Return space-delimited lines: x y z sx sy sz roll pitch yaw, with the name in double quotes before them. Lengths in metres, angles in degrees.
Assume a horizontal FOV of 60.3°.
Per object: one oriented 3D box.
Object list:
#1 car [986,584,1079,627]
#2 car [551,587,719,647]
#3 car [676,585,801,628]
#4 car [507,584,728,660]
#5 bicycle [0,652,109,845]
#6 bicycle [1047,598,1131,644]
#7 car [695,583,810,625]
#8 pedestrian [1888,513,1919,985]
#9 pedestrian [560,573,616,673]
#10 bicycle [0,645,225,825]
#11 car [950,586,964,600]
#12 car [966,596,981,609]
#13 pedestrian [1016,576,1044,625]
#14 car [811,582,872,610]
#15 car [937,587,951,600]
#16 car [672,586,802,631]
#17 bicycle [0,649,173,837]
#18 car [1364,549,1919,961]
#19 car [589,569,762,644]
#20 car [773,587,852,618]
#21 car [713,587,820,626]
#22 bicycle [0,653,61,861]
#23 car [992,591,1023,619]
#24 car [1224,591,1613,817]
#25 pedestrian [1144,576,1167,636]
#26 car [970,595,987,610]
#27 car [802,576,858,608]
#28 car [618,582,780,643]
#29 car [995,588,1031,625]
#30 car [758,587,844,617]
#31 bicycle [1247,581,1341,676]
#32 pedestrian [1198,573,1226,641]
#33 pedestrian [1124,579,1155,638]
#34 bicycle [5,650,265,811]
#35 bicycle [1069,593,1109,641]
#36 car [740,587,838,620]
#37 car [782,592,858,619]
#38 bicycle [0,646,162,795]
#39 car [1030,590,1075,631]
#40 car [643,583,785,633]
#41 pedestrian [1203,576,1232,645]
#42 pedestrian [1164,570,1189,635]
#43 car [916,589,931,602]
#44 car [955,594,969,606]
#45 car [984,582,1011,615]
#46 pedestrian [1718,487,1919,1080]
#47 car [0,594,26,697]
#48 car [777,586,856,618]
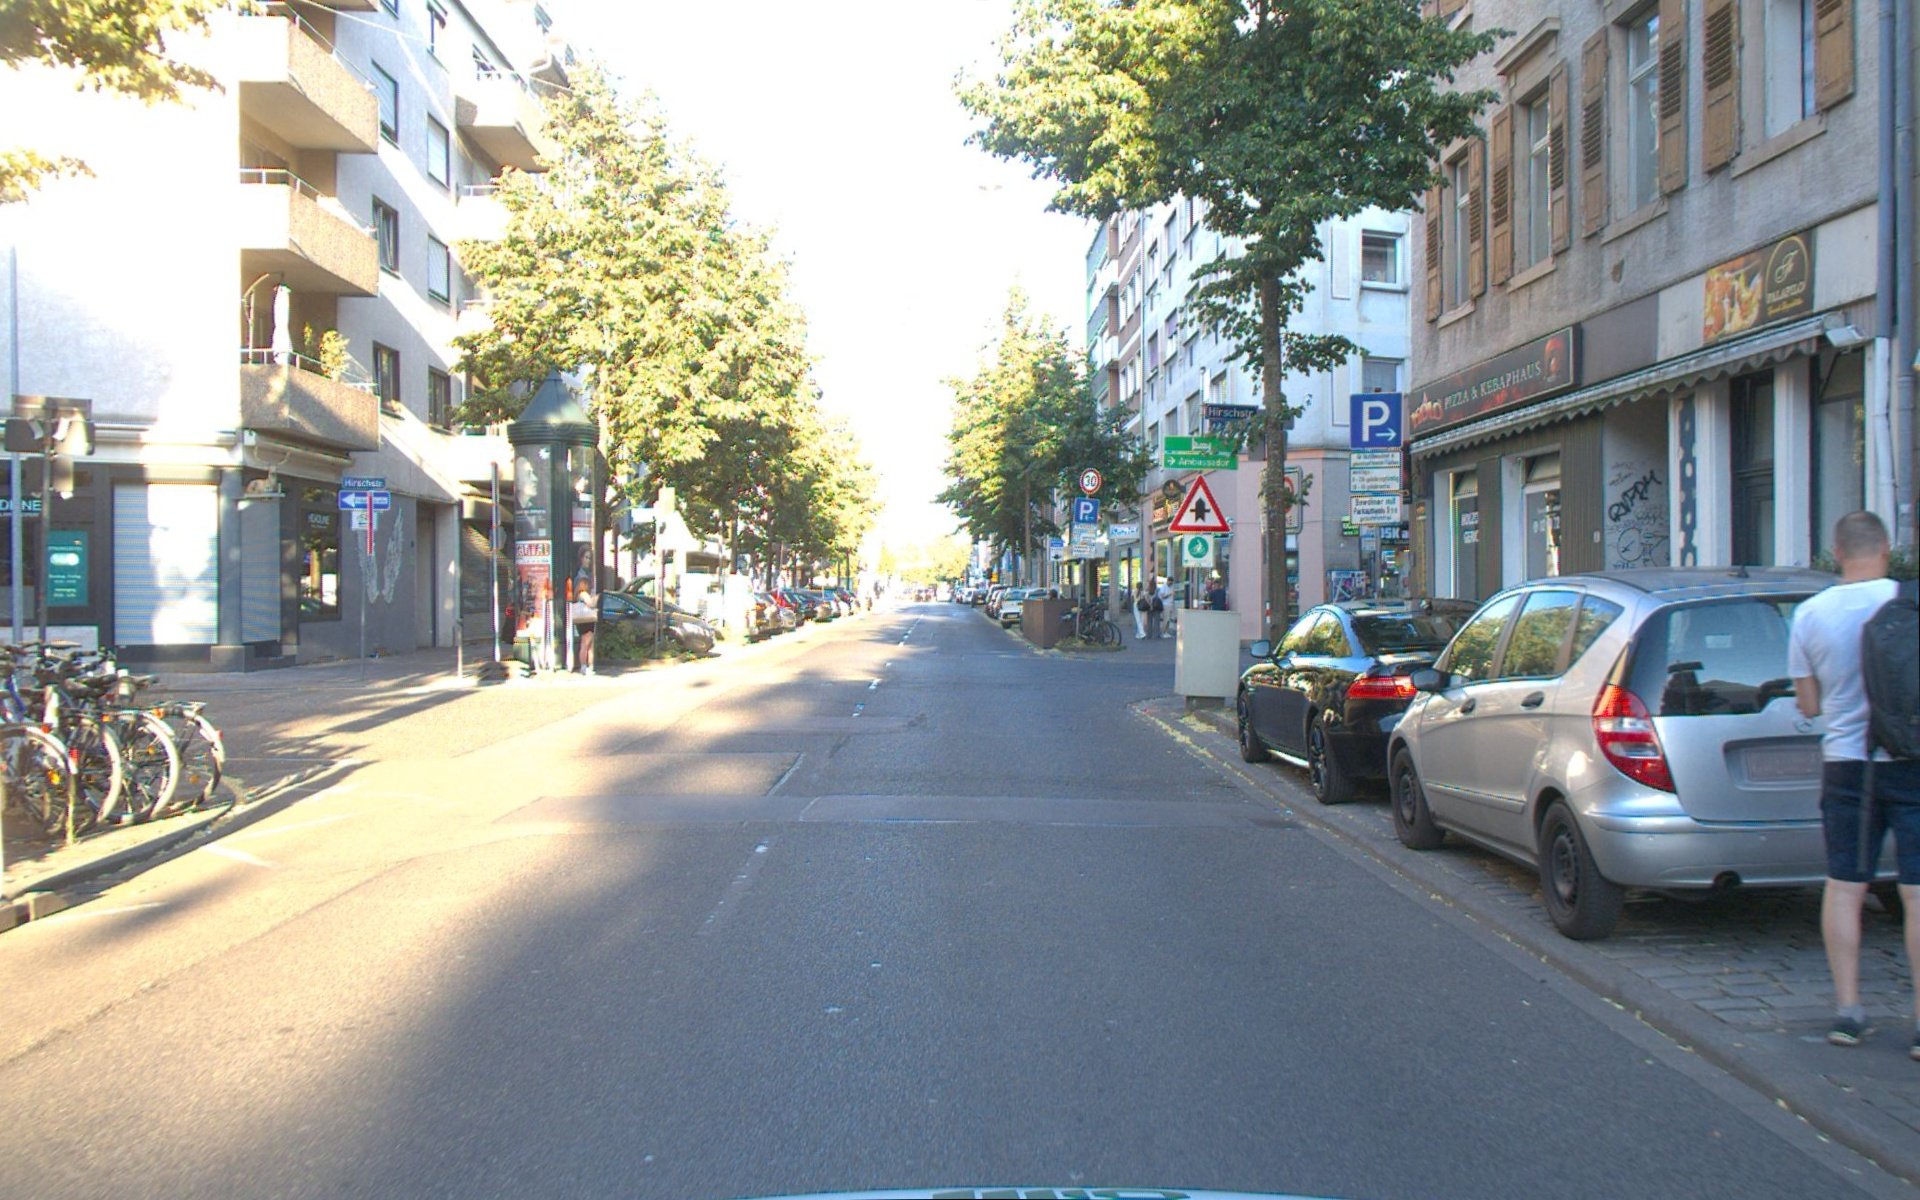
"car" 2.862 0.218 64.917 1.645 1.616 3.801 1 0 42
"car" -8.090 0.428 41.391 3.712 1.416 2.044 1 -1 2
"car" -8.129 0.234 61.022 4.351 1.484 1.859 1 0 0
"car" -7.398 0.458 36.050 4.454 1.568 1.810 1 0 -2
"bicycle" -6.100 0.859 9.961 1.649 1.097 0.444 3 -1 -2
"bicycle" 3.144 0.499 40.367 1.918 1.092 0.704 0 0 31
"car" -8.251 0.163 66.007 4.351 1.595 1.919 1 0 0
"pedestrian" 3.902 0.534 5.831 0.666 1.735 0.822 -3 0 -15
"pedestrian" -6.454 0.385 28.738 0.695 1.716 0.834 0 0 8
"bicycle" -5.873 0.892 11.134 1.647 1.097 0.445 2 -1 7
"car" -0.345 -0.813 196.927 1.716 1.567 3.304 0 0 0
"car" 1.306 0.216 162.877 1.482 1.285 3.304 0 0 0
"pedestrian" 2.882 0.016 67.947 0.900 1.959 1.015 1 0 -11
"car" -8.697 -0.284 122.023 4.351 1.994 1.919 0 0 0
"car" -1.957 -0.774 204.031 1.685 1.501 3.304 0 0 0
"car" -7.889 0.288 58.720 4.351 1.510 1.809 1 0 0
"bicycle" -5.953 0.883 10.554 1.647 1.097 0.445 2 -1 7
"car" 3.486 0.599 8.705 1.652 1.602 4.013 -3 1 -1
"car" -7.923 0.175 46.336 4.479 1.996 1.990 1 0 -1
"car" -8.244 0.131 92.490 4.216 1.626 1.919 1 0 0
"car" -8.245 0.288 70.720 4.351 1.595 1.919 1 0 0
"bicycle" -5.847 0.855 9.074 1.530 1.136 0.439 3 -1 -34
"car" 2.440 0.240 85.217 1.482 1.430 3.837 0 0 0
"car" 3.411 0.675 13.250 1.749 1.399 4.523 -3 1 -1
"pedestrian" 5.566 0.166 47.168 0.617 1.709 0.892 0 0 6
"car" 1.603 0.187 144.518 1.482 1.298 3.304 0 0 0
"car" -10.363 -0.638 132.034 4.351 2.477 1.919 0 0 0
"car" -7.703 0.354 49.156 4.478 1.727 2.060 1 0 0
"car" 2.326 0.274 73.134 1.482 1.605 3.218 0 0 1
"car" -8.433 0.100 88.113 4.351 1.549 1.919 1 0 0
"bicycle" 4.205 0.349 20.942 0.762 1.131 1.899 -1 0 -1
"pedestrian" 6.138 0.166 40.341 0.555 1.627 0.663 -1 1 -1
"pedestrian" 5.069 0.233 46.635 0.779 1.654 0.913 0 0 12
"bicycle" -5.909 0.922 11.865 1.647 1.039 0.445 2 -1 7
"bicycle" 3.269 0.417 41.830 0.585 1.198 1.847 0 0 18
"car" -7.966 0.138 77.247 4.351 1.474 1.919 1 0 0
"car" -8.249 0.295 97.736 4.351 1.525 1.919 1 0 0
"bicycle" -6.858 0.892 12.412 1.458 1.077 0.470 1 -1 -7
"car" 3.368 0.371 60.511 1.511 1.458 3.678 0 0 1
"car" -8.013 0.256 54.171 4.351 1.532 1.844 1 0 0
"pedestrian" 6.160 0.251 39.577 0.555 1.611 0.663 -2 1 -1
"pedestrian" 6.203 0.069 47.397 0.683 1.836 0.892 0 0 8
"car" -4.524 -0.536 204.851 1.716 1.567 3.304 0 0 0
"car" 0.223 -0.004 185.548 1.482 1.321 3.304 0 0 0
"car" 2.184 -0.065 96.927 1.482 1.897 4.235 0 0 1
"pedestrian" 3.072 0.547 5.458 0.665 1.785 0.823 -1 0 -11
"car" -15.310 0.627 22.679 4.140 1.404 1.985 0 0 -24
"car" -8.192 0.102 94.618 4.351 1.789 1.919 1 0 0
